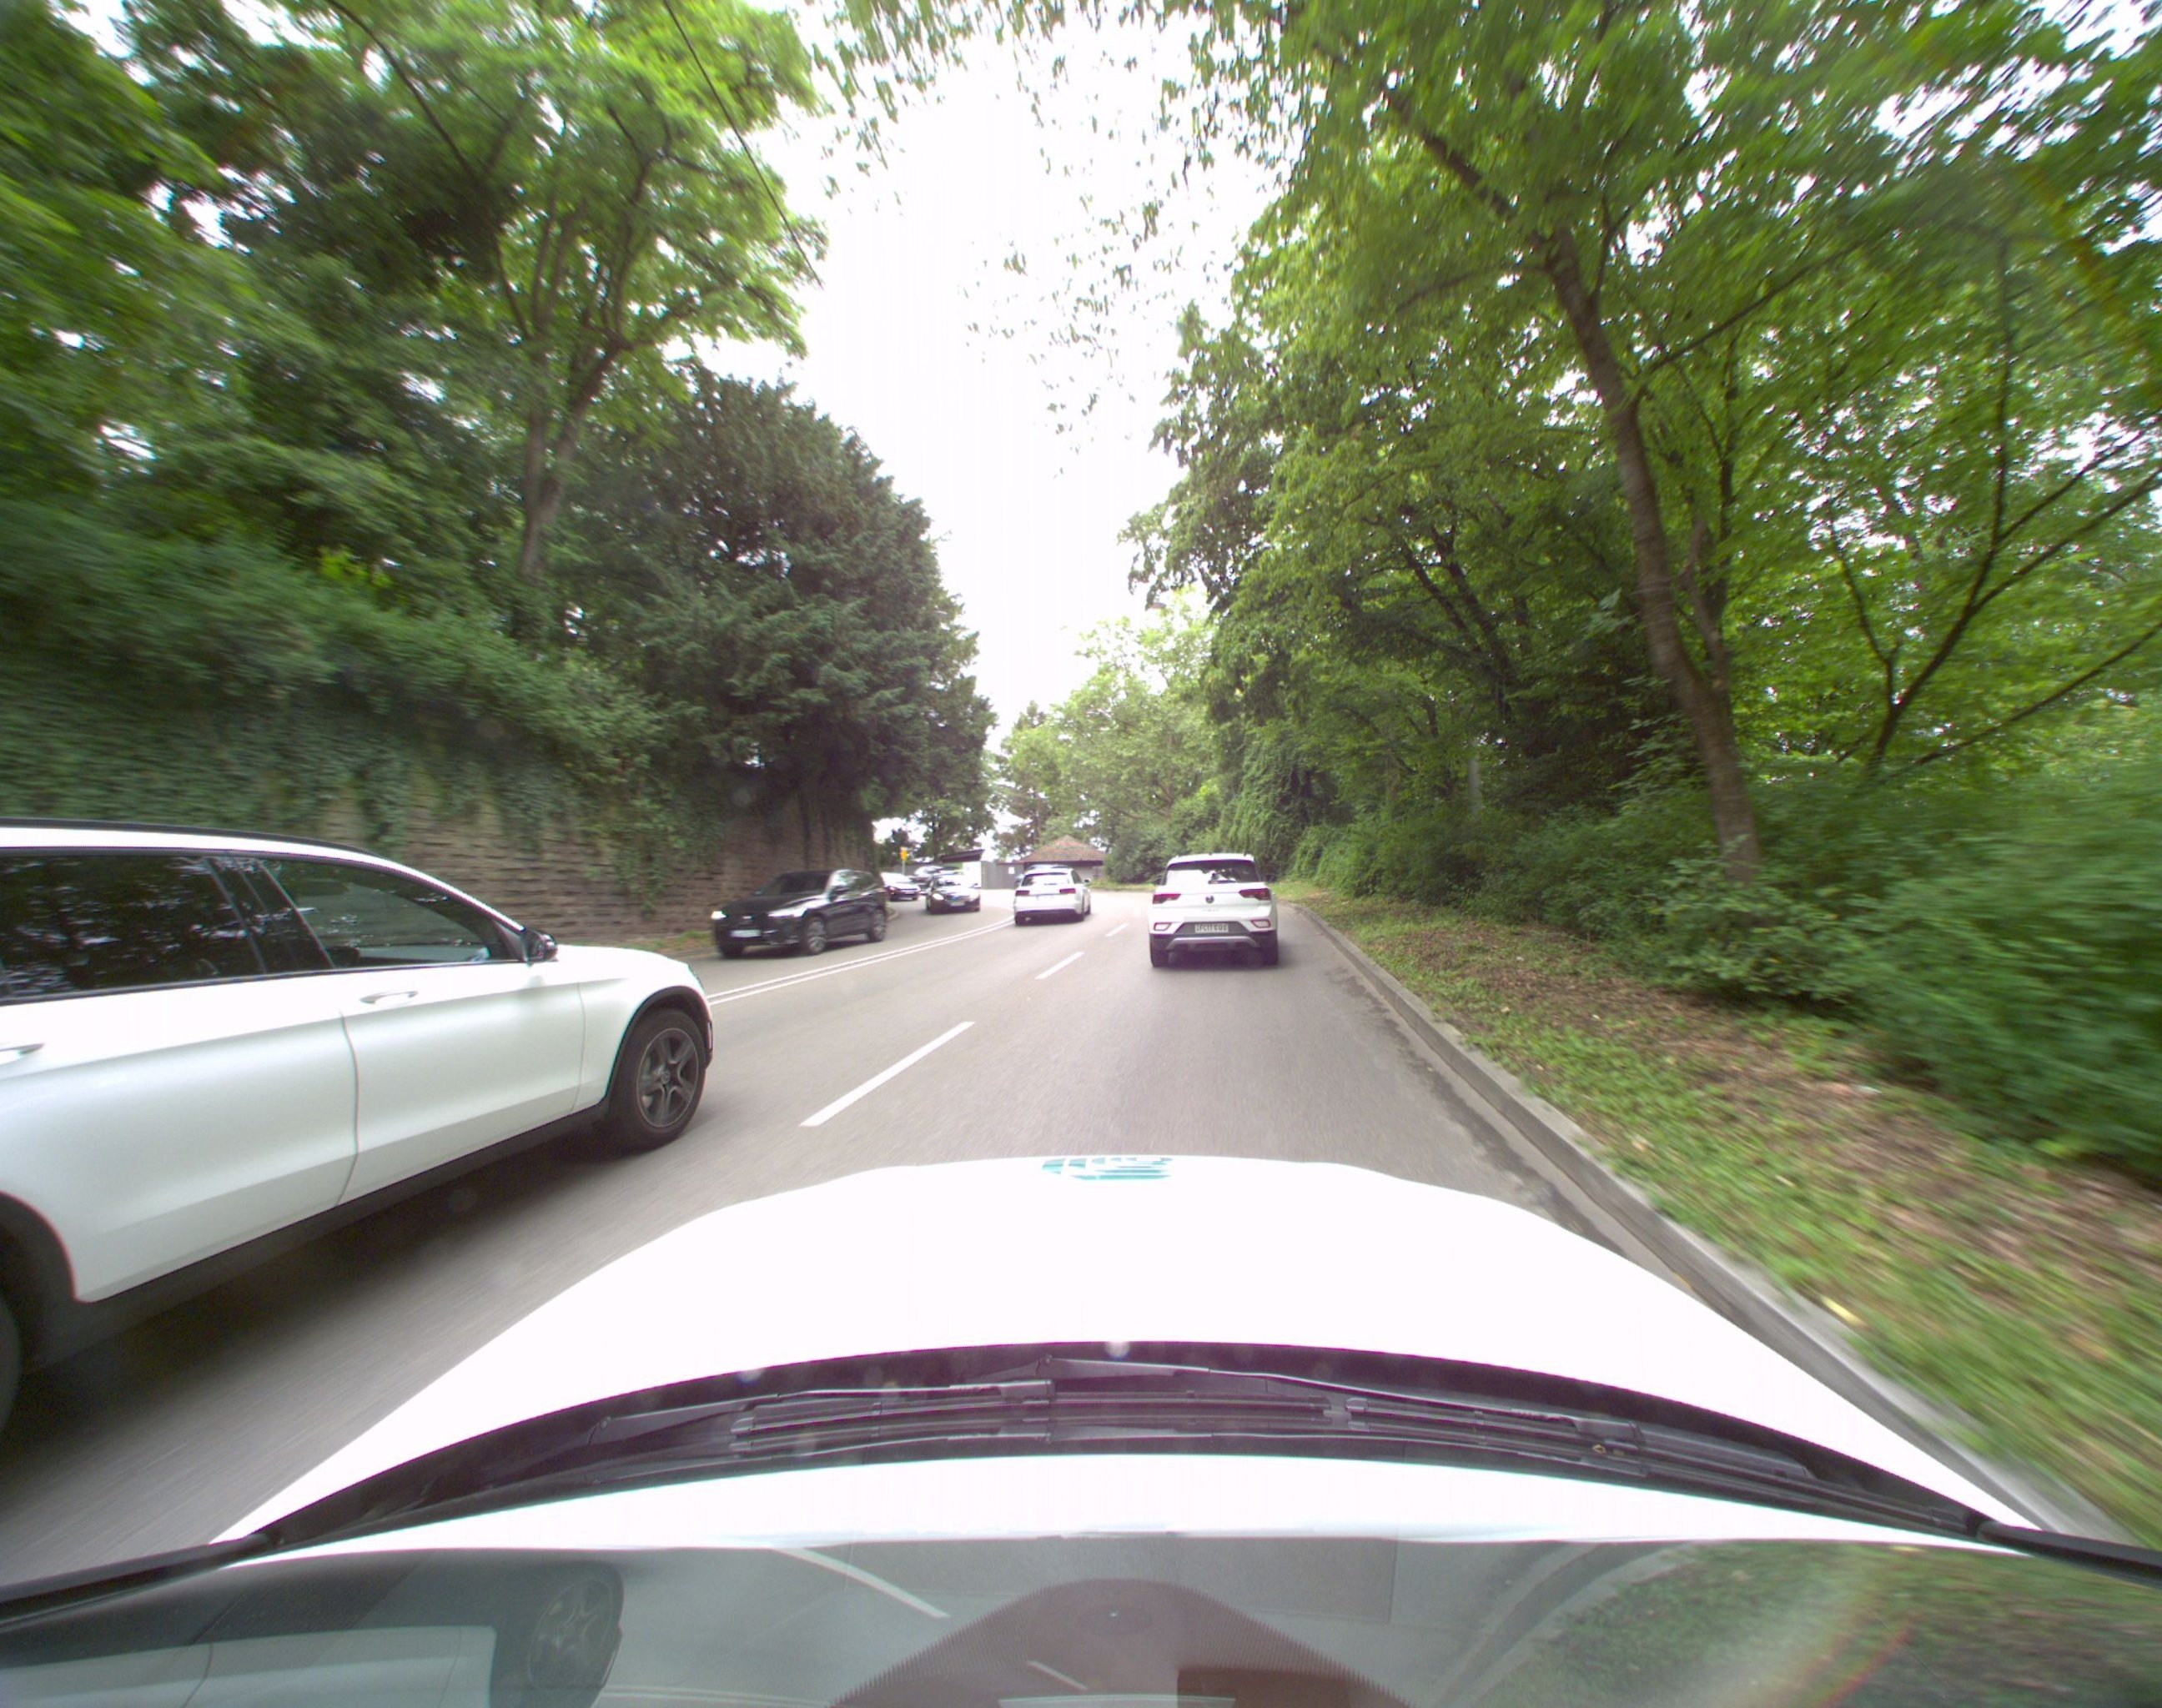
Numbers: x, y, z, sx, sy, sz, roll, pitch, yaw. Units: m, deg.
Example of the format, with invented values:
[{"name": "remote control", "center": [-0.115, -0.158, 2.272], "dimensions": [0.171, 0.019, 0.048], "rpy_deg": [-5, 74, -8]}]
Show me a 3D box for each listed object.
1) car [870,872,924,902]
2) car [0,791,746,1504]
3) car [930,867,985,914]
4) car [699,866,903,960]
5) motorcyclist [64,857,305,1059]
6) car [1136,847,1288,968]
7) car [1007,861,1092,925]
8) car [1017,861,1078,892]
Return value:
[{"name": "car", "center": [-9.441, 1.691, 41.524], "dimensions": [1.780, 1.339, 3.925], "rpy_deg": [-3, -1, -26]}, {"name": "car", "center": [-3.277, 0.696, 2.997], "dimensions": [1.850, 1.606, 4.676], "rpy_deg": [-1, -1, 4]}, {"name": "car", "center": [-4.913, 1.391, 31.825], "dimensions": [1.863, 1.597, 4.611], "rpy_deg": [-3, -1, -11]}, {"name": "car", "center": [-5.502, 1.097, 16.735], "dimensions": [1.837, 1.649, 4.526], "rpy_deg": [-2, -1, 12]}, {"name": "motorcyclist", "center": [-7.384, 0.810, 6.775], "dimensions": [0.742, 1.529, 1.098], "rpy_deg": [-2, -2, 11]}, {"name": "car", "center": [2.226, 0.711, 12.759], "dimensions": [1.741, 1.553, 4.356], "rpy_deg": [-2, -1, 16]}, {"name": "car", "center": [-0.765, 1.038, 23.083], "dimensions": [1.857, 1.534, 4.780], "rpy_deg": [-3, -2, 3]}, {"name": "car", "center": [-1.861, 1.254, 43.644], "dimensions": [1.679, 1.501, 3.987], "rpy_deg": [-3, -1, -27]}]
